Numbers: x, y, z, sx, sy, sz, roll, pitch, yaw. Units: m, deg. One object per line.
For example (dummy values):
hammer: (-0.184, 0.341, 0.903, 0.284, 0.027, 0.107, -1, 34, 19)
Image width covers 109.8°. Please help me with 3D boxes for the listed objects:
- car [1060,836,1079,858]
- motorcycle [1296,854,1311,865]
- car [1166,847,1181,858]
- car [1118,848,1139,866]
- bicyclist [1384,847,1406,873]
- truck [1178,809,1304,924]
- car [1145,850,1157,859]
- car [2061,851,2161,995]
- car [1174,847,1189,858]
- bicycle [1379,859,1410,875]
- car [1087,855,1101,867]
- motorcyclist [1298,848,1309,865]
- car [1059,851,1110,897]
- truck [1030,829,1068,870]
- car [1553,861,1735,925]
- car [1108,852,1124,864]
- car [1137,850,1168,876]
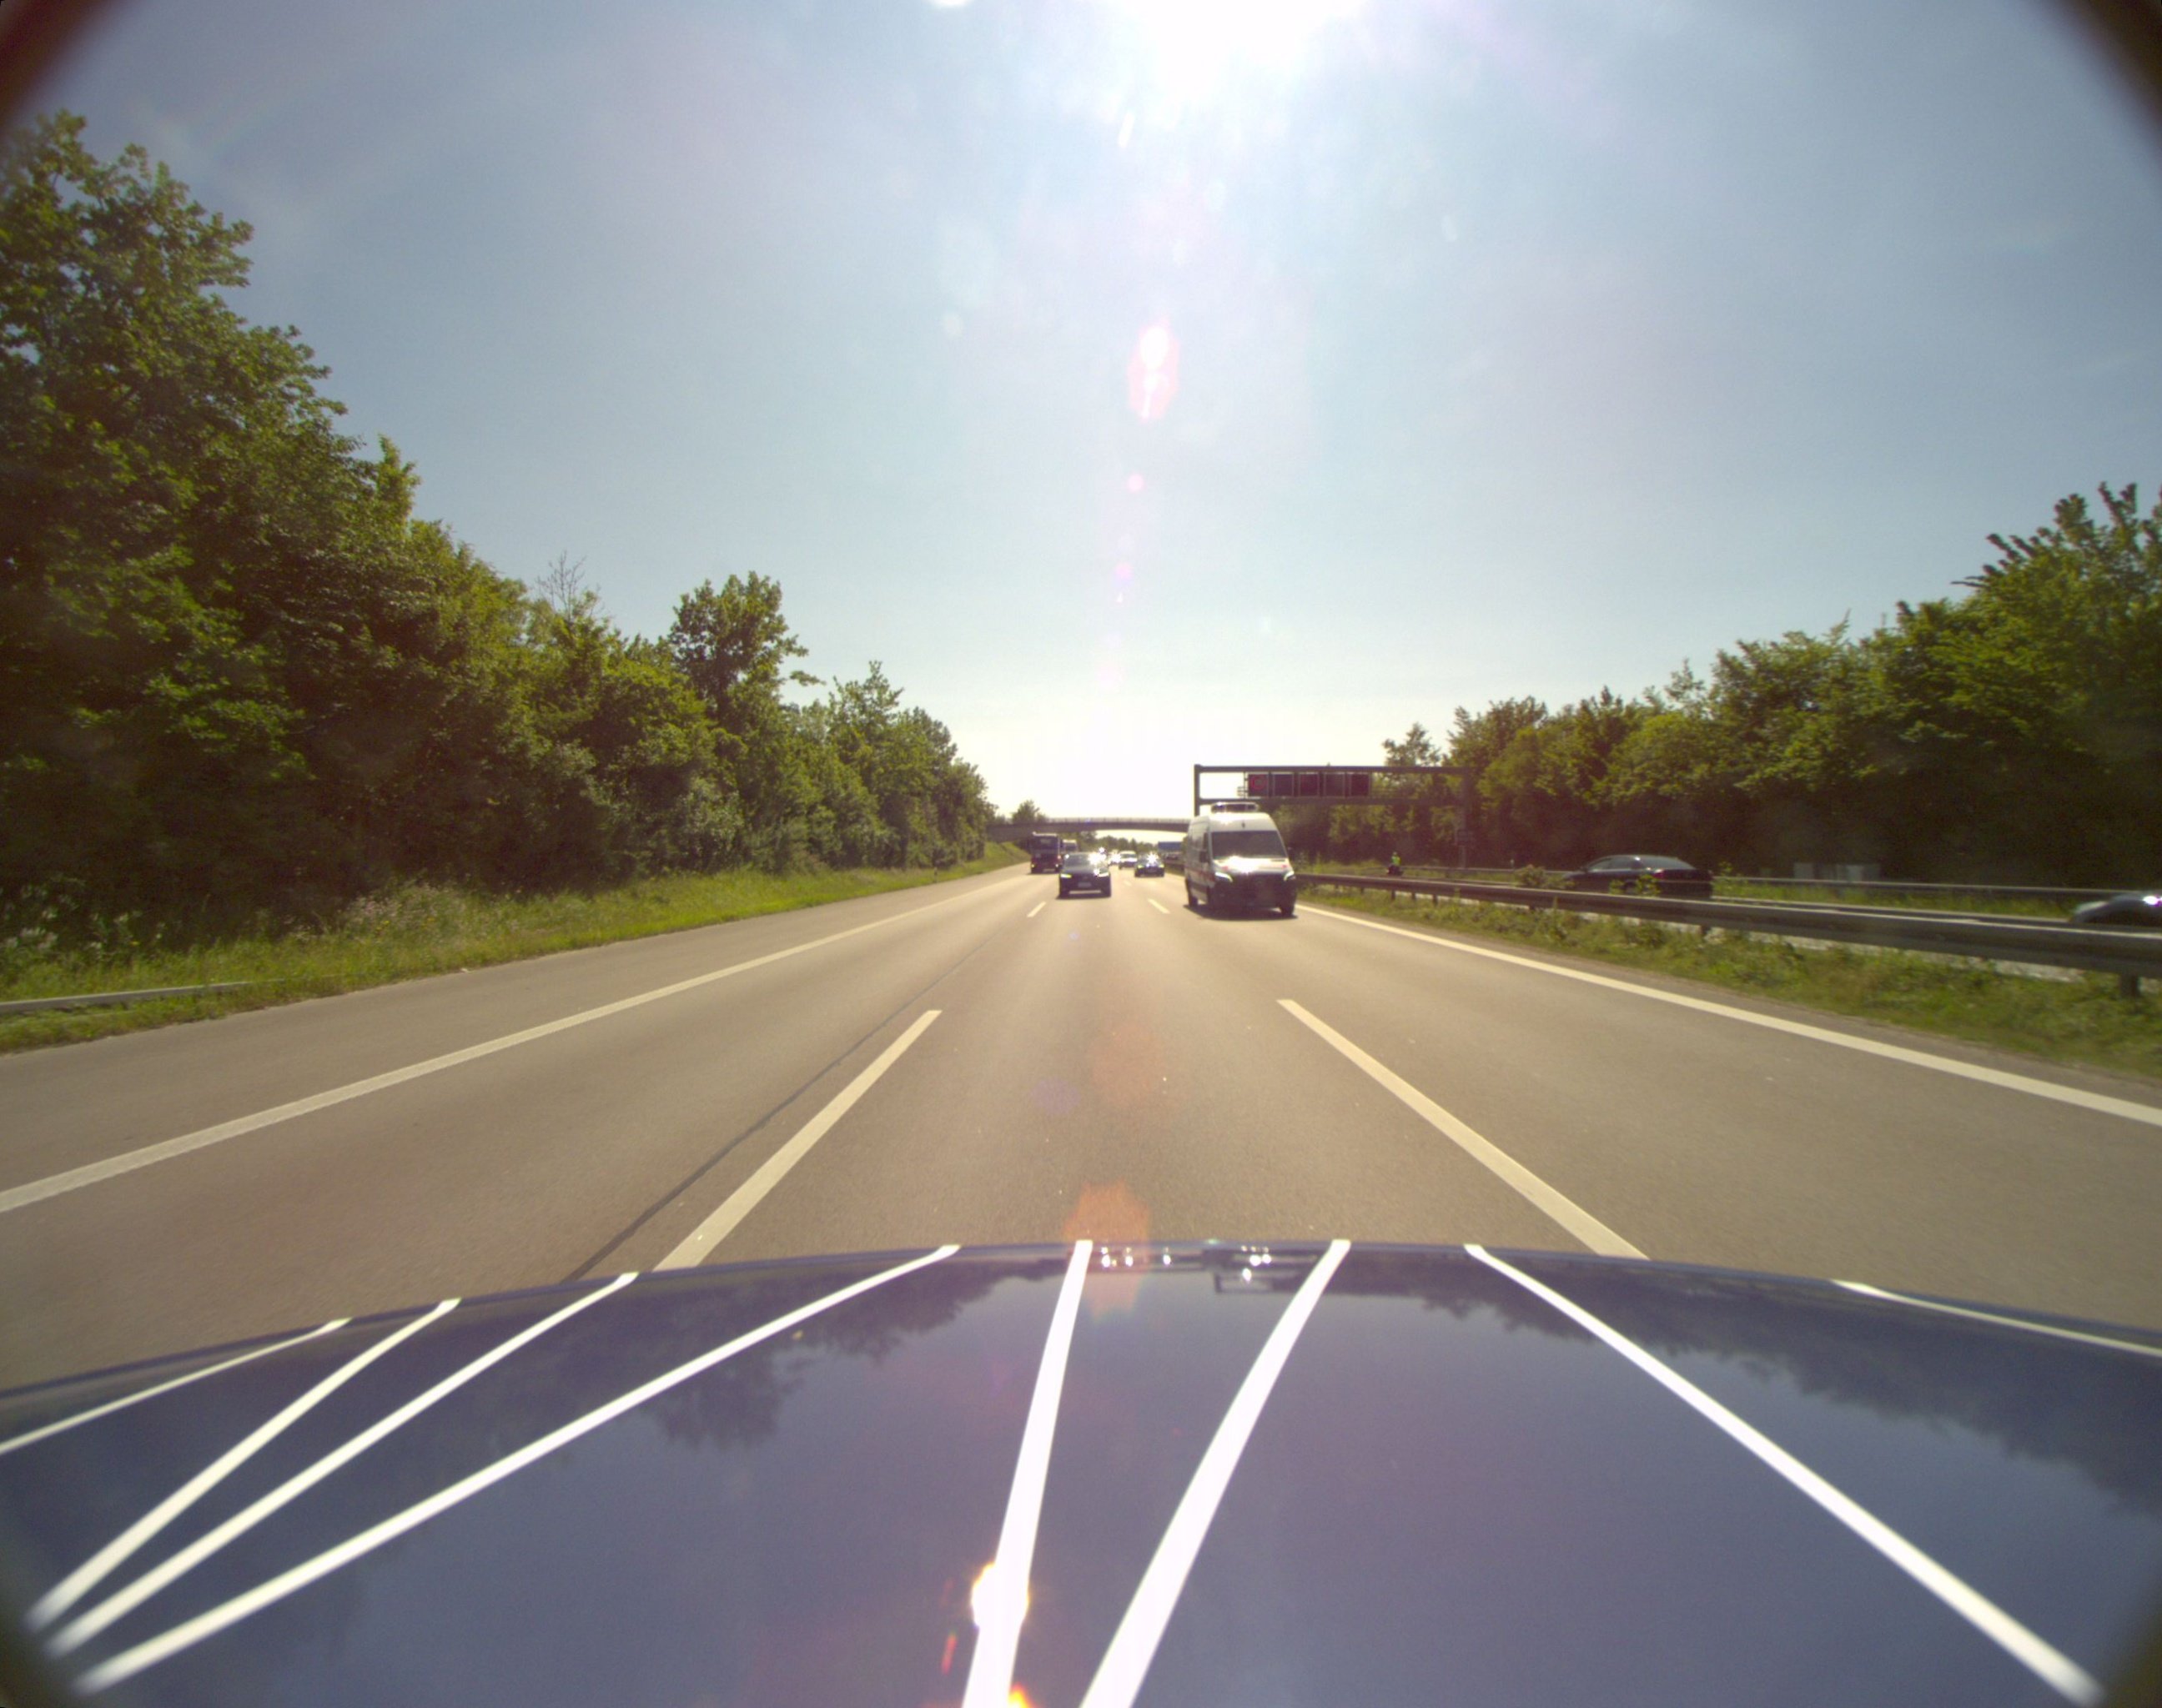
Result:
car: (-2.090, -1.278, 138.793, 3.202, 3.997, 8.126, 0, 1, 1)
motorcycle: (20.454, 0.523, 69.837, 0.807, 0.940, 2.222, 0, 1, 1)
car: (13.977, -0.229, 115.120, 1.783, 1.608, 4.060, 0, 0, 1)
car: (4.711, 0.257, 75.226, 1.870, 1.713, 3.980, -1, 1, 1)
bicyclist: (19.695, 0.383, 47.698, 0.882, 1.567, 1.287, -1, 2, 0)
truck: (4.036, 0.279, 20.481, 1.998, 2.527, 6.692, -2, 0, 1)
car: (14.071, 0.023, 153.672, 1.911, 1.697, 5.196, 2, 0, 1)
car: (12.290, 0.725, 6.536, 1.998, 1.511, 4.427, 0, 0, 0)
car: (17.813, -0.266, 134.791, 1.998, 1.795, 5.125, -1, 1, 1)
bicycle: (19.745, 0.820, 47.917, 0.904, 0.911, 2.733, -1, 1, 0)
car: (1.891, 1.015, 110.919, 1.742, 1.630, 3.845, 0, 0, 5)
motorcyclist: (20.461, 0.236, 69.887, 0.807, 1.491, 0.931, 0, 1, 1)
car: (0.169, 0.717, 29.336, 1.812, 1.648, 4.000, 0, 0, 1)
truck: (-2.712, -0.399, 67.270, 2.965, 3.388, 8.047, 0, 0, 0)
car: (15.930, 1.029, 21.873, 1.872, 1.576, 4.558, 0, 0, 0)
car: (4.570, 0.508, 99.983, 1.998, 1.540, 4.000, -1, 1, 3)
car: (4.744, 0.574, 50.689, 1.904, 1.616, 4.241, -1, 0, 3)
